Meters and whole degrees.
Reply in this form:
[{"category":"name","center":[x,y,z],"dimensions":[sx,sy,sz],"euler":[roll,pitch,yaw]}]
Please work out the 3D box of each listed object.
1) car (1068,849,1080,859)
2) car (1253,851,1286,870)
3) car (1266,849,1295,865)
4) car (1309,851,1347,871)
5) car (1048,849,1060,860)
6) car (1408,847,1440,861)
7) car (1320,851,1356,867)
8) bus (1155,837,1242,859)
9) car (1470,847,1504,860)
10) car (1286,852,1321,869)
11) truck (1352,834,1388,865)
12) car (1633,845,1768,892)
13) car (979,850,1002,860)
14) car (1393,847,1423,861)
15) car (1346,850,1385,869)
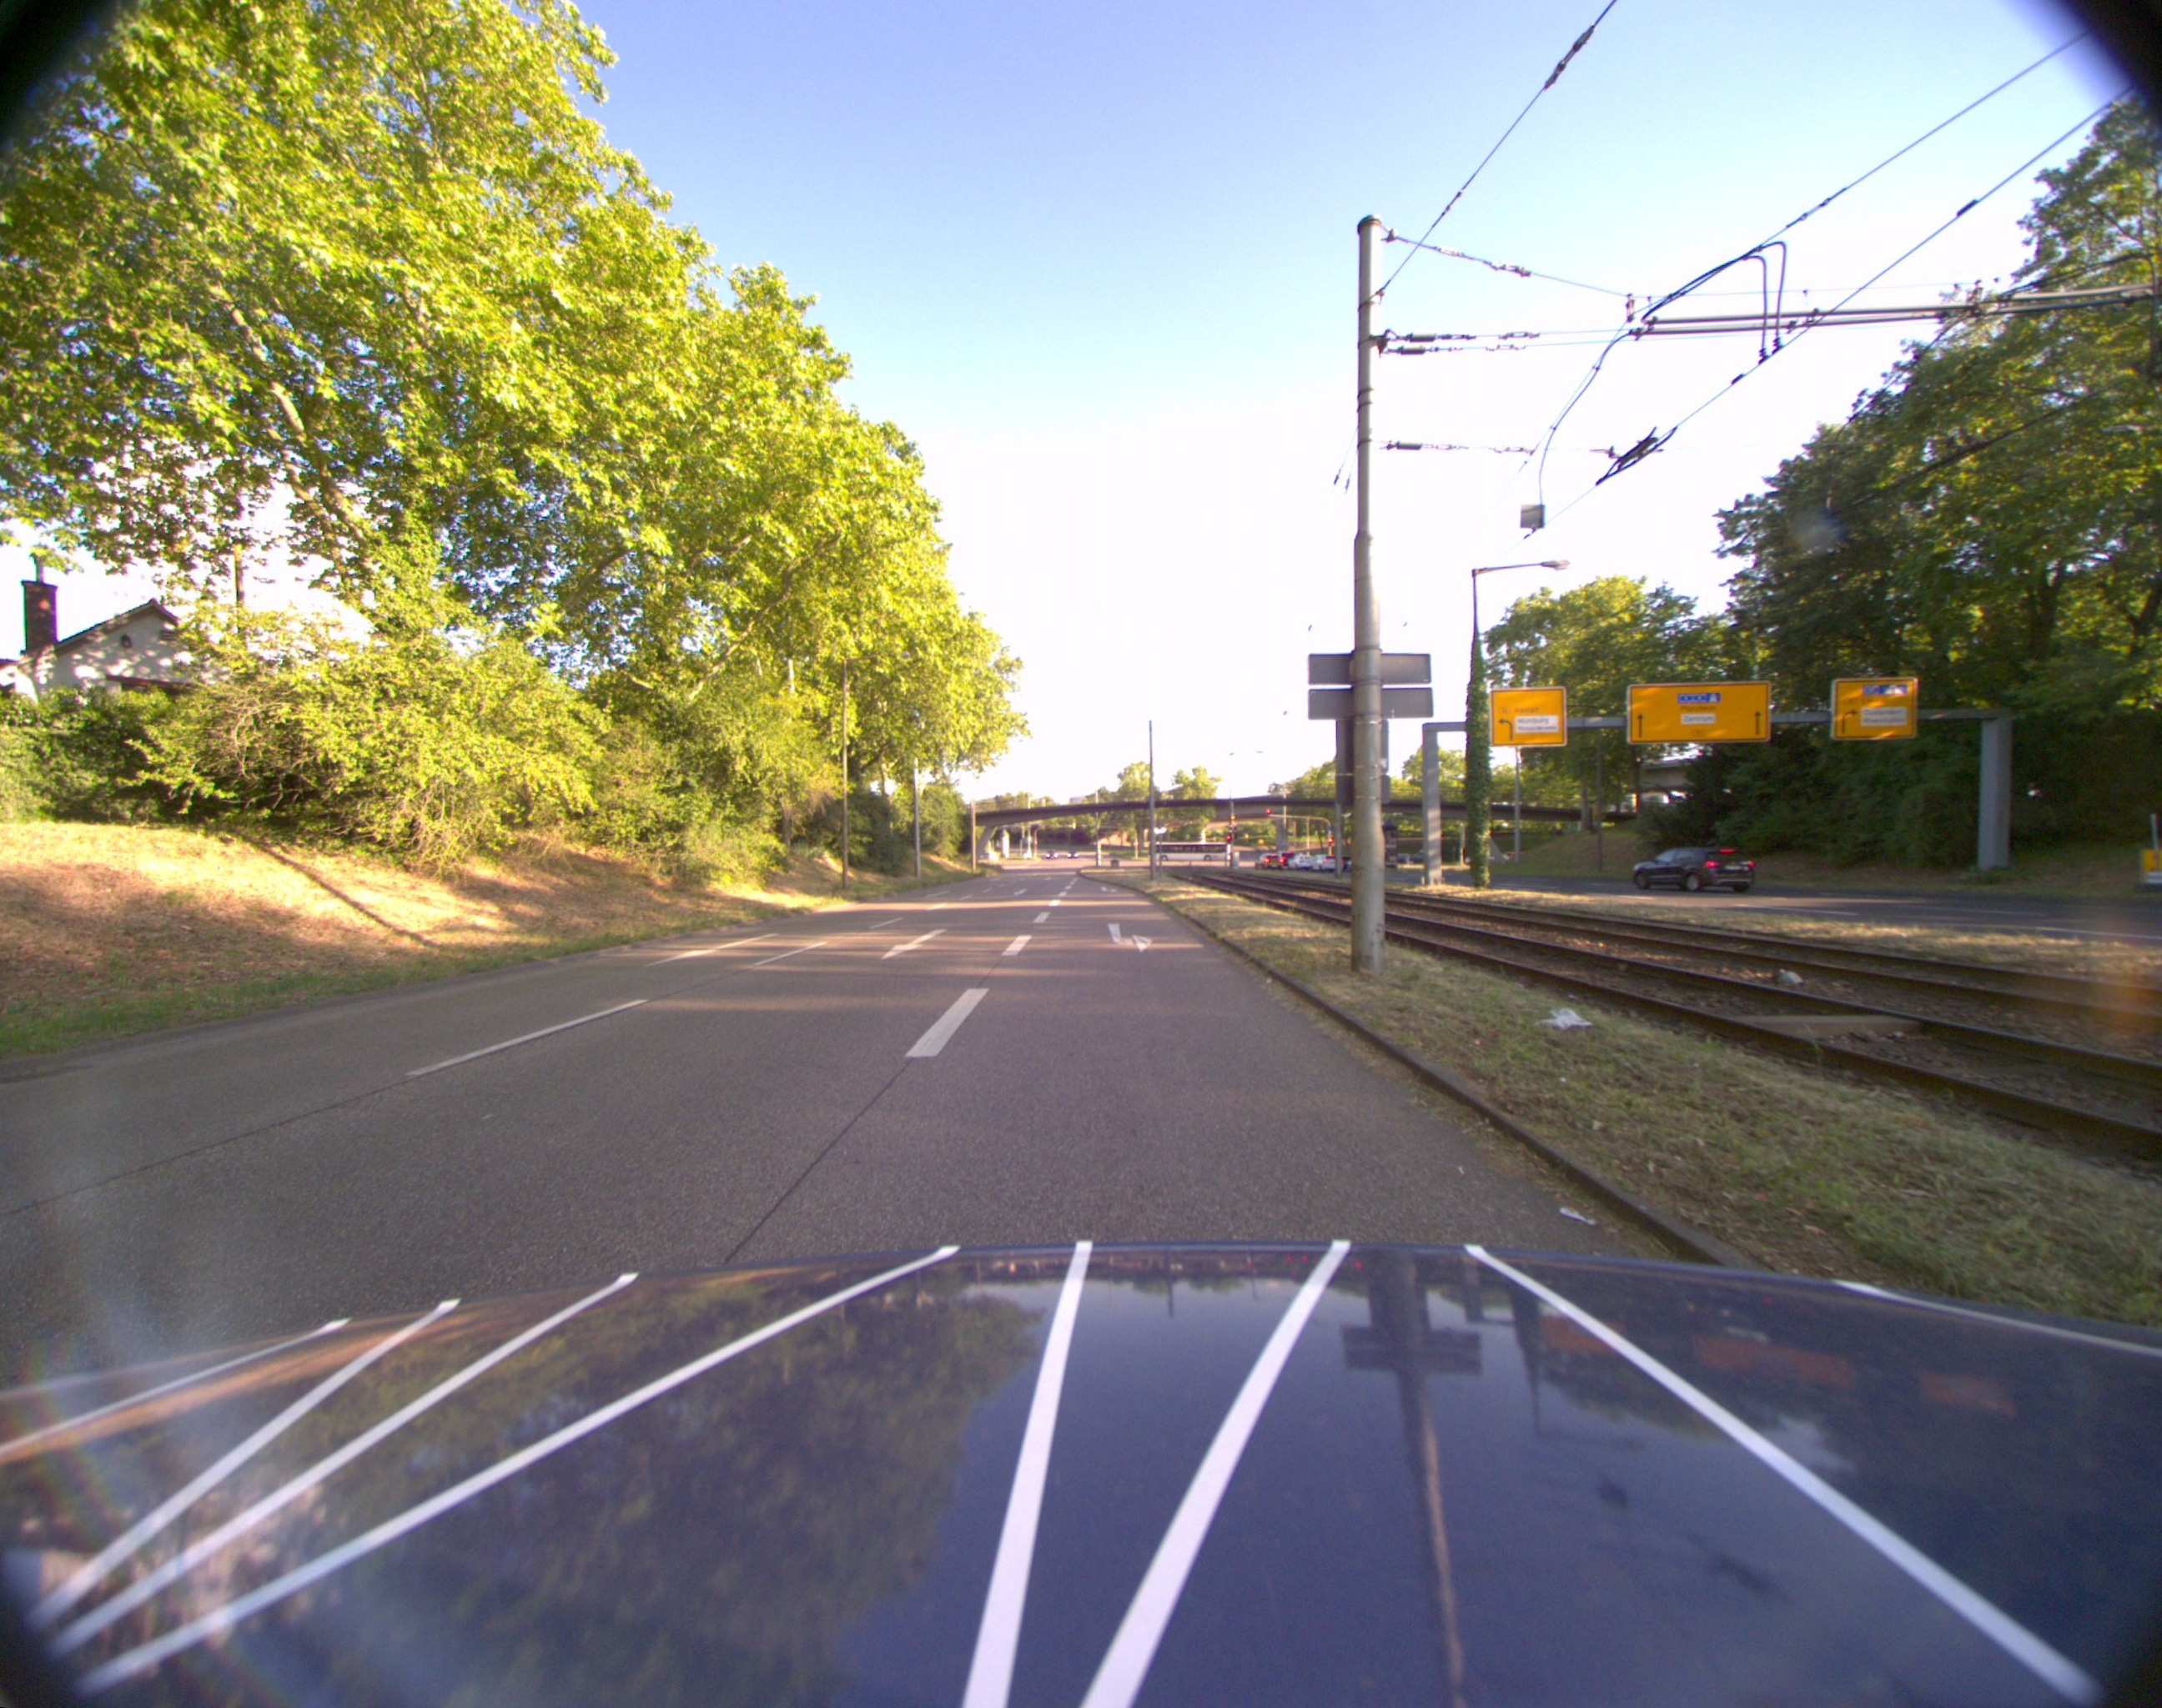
[{"category":"car","center":[-1.274,0.012,141.881],"dimensions":[1.905,1.726,3.998],"euler":[-2,0,-5]},{"category":"car","center":[16.137,0.499,65.240],"dimensions":[1.767,1.535,4.000],"euler":[-1,0,0]},{"category":"car","center":[19.570,0.256,74.746],"dimensions":[1.917,1.540,4.227],"euler":[-1,0,4]},{"category":"car","center":[20.017,0.535,61.810],"dimensions":[1.767,1.535,4.000],"euler":[-1,0,0]},{"category":"car","center":[-4.918,0.066,139.205],"dimensions":[1.960,1.779,3.998],"euler":[-2,0,-5]},{"category":"car","center":[46.975,-0.020,104.179],"dimensions":[3.805,1.848,1.679],"euler":[-2,1,20]},{"category":"car","center":[23.727,0.472,70.213],"dimensions":[1.868,1.416,4.226],"euler":[-1,0,0]},{"category":"bus","center":[18.367,-0.910,119.483],"dimensions":[13.164,2.846,2.420],"euler":[-2,1,20]},{"category":"car","center":[54.073,-0.070,101.172],"dimensions":[3.804,1.570,1.679],"euler":[-2,1,24]},{"category":"car","center":[19.905,0.536,68.088],"dimensions":[1.918,1.416,4.227],"euler":[-1,0,2]},{"category":"truck","center":[28.371,-0.446,74.804],"dimensions":[2.281,2.862,6.886],"euler":[-1,0,13]},{"category":"car","center":[22.042,0.482,27.262],"dimensions":[1.755,1.548,3.973],"euler":[0,0,3]},{"category":"car","center":[-15.936,0.200,133.613],"dimensions":[3.646,1.503,1.665],"euler":[-2,1,26]},{"category":"car","center":[46.342,-0.053,107.687],"dimensions":[3.805,1.848,1.679],"euler":[-2,1,20]},{"category":"car","center":[23.958,0.453,64.077],"dimensions":[1.813,1.535,4.000],"euler":[-1,0,1]}]
